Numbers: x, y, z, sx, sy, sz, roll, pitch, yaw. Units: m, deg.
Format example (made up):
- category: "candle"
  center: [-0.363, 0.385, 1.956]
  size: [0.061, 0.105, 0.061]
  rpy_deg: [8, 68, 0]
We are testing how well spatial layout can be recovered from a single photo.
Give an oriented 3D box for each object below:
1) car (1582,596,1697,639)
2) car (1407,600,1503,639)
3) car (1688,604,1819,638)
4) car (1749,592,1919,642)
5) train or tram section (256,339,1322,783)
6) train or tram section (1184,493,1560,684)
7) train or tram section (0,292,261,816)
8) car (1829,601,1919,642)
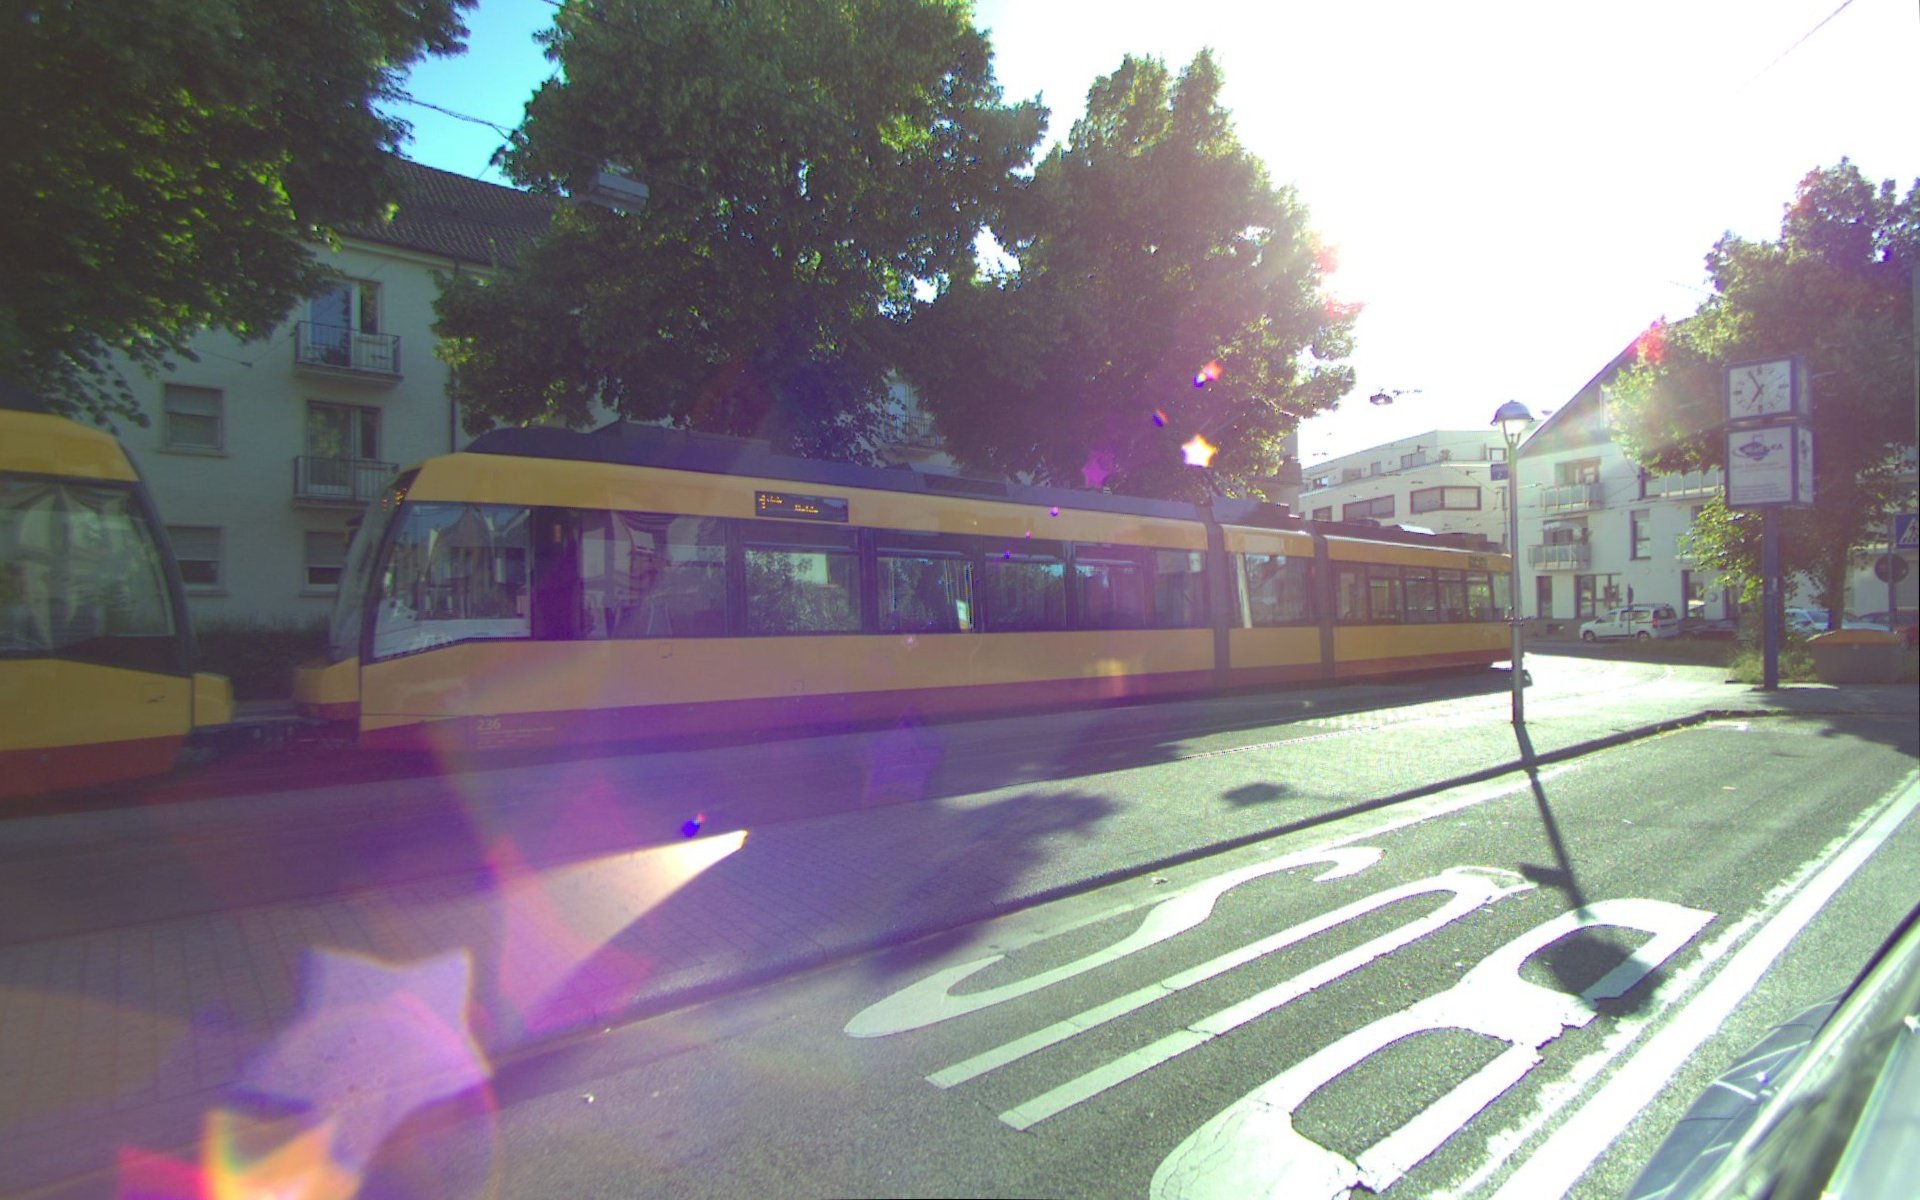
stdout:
- category: "car"
  center: [32.771, 0.786, 48.940]
  size: [1.958, 1.981, 4.281]
  rpy_deg: [0, 0, -21]
- category: "car"
  center: [26.029, 1.049, 53.433]
  size: [1.833, 1.958, 4.799]
  rpy_deg: [0, -2, -14]
- category: "car"
  center: [34.139, 0.918, 43.704]
  size: [1.895, 1.364, 4.132]
  rpy_deg: [-1, -1, -13]
- category: "car"
  center: [28.196, 0.533, 32.686]
  size: [1.963, 1.481, 4.447]
  rpy_deg: [0, -1, 1]
- category: "train or tram section"
  center: [-0.227, -0.265, 14.249]
  size: [15.664, 3.465, 2.961]
  rpy_deg: [1, 0, -42]
- category: "train or tram section"
  center: [10.369, -0.169, 23.921]
  size: [13.235, 3.465, 2.960]
  rpy_deg: [1, 0, -43]
- category: "train or tram section"
  center: [-11.396, -0.251, 4.669]
  size: [13.229, 3.578, 2.962]
  rpy_deg: [-1, 1, -41]
- category: "car"
  center: [35.605, 0.826, 38.151]
  size: [1.574, 1.481, 4.211]
  rpy_deg: [-1, -2, -9]
